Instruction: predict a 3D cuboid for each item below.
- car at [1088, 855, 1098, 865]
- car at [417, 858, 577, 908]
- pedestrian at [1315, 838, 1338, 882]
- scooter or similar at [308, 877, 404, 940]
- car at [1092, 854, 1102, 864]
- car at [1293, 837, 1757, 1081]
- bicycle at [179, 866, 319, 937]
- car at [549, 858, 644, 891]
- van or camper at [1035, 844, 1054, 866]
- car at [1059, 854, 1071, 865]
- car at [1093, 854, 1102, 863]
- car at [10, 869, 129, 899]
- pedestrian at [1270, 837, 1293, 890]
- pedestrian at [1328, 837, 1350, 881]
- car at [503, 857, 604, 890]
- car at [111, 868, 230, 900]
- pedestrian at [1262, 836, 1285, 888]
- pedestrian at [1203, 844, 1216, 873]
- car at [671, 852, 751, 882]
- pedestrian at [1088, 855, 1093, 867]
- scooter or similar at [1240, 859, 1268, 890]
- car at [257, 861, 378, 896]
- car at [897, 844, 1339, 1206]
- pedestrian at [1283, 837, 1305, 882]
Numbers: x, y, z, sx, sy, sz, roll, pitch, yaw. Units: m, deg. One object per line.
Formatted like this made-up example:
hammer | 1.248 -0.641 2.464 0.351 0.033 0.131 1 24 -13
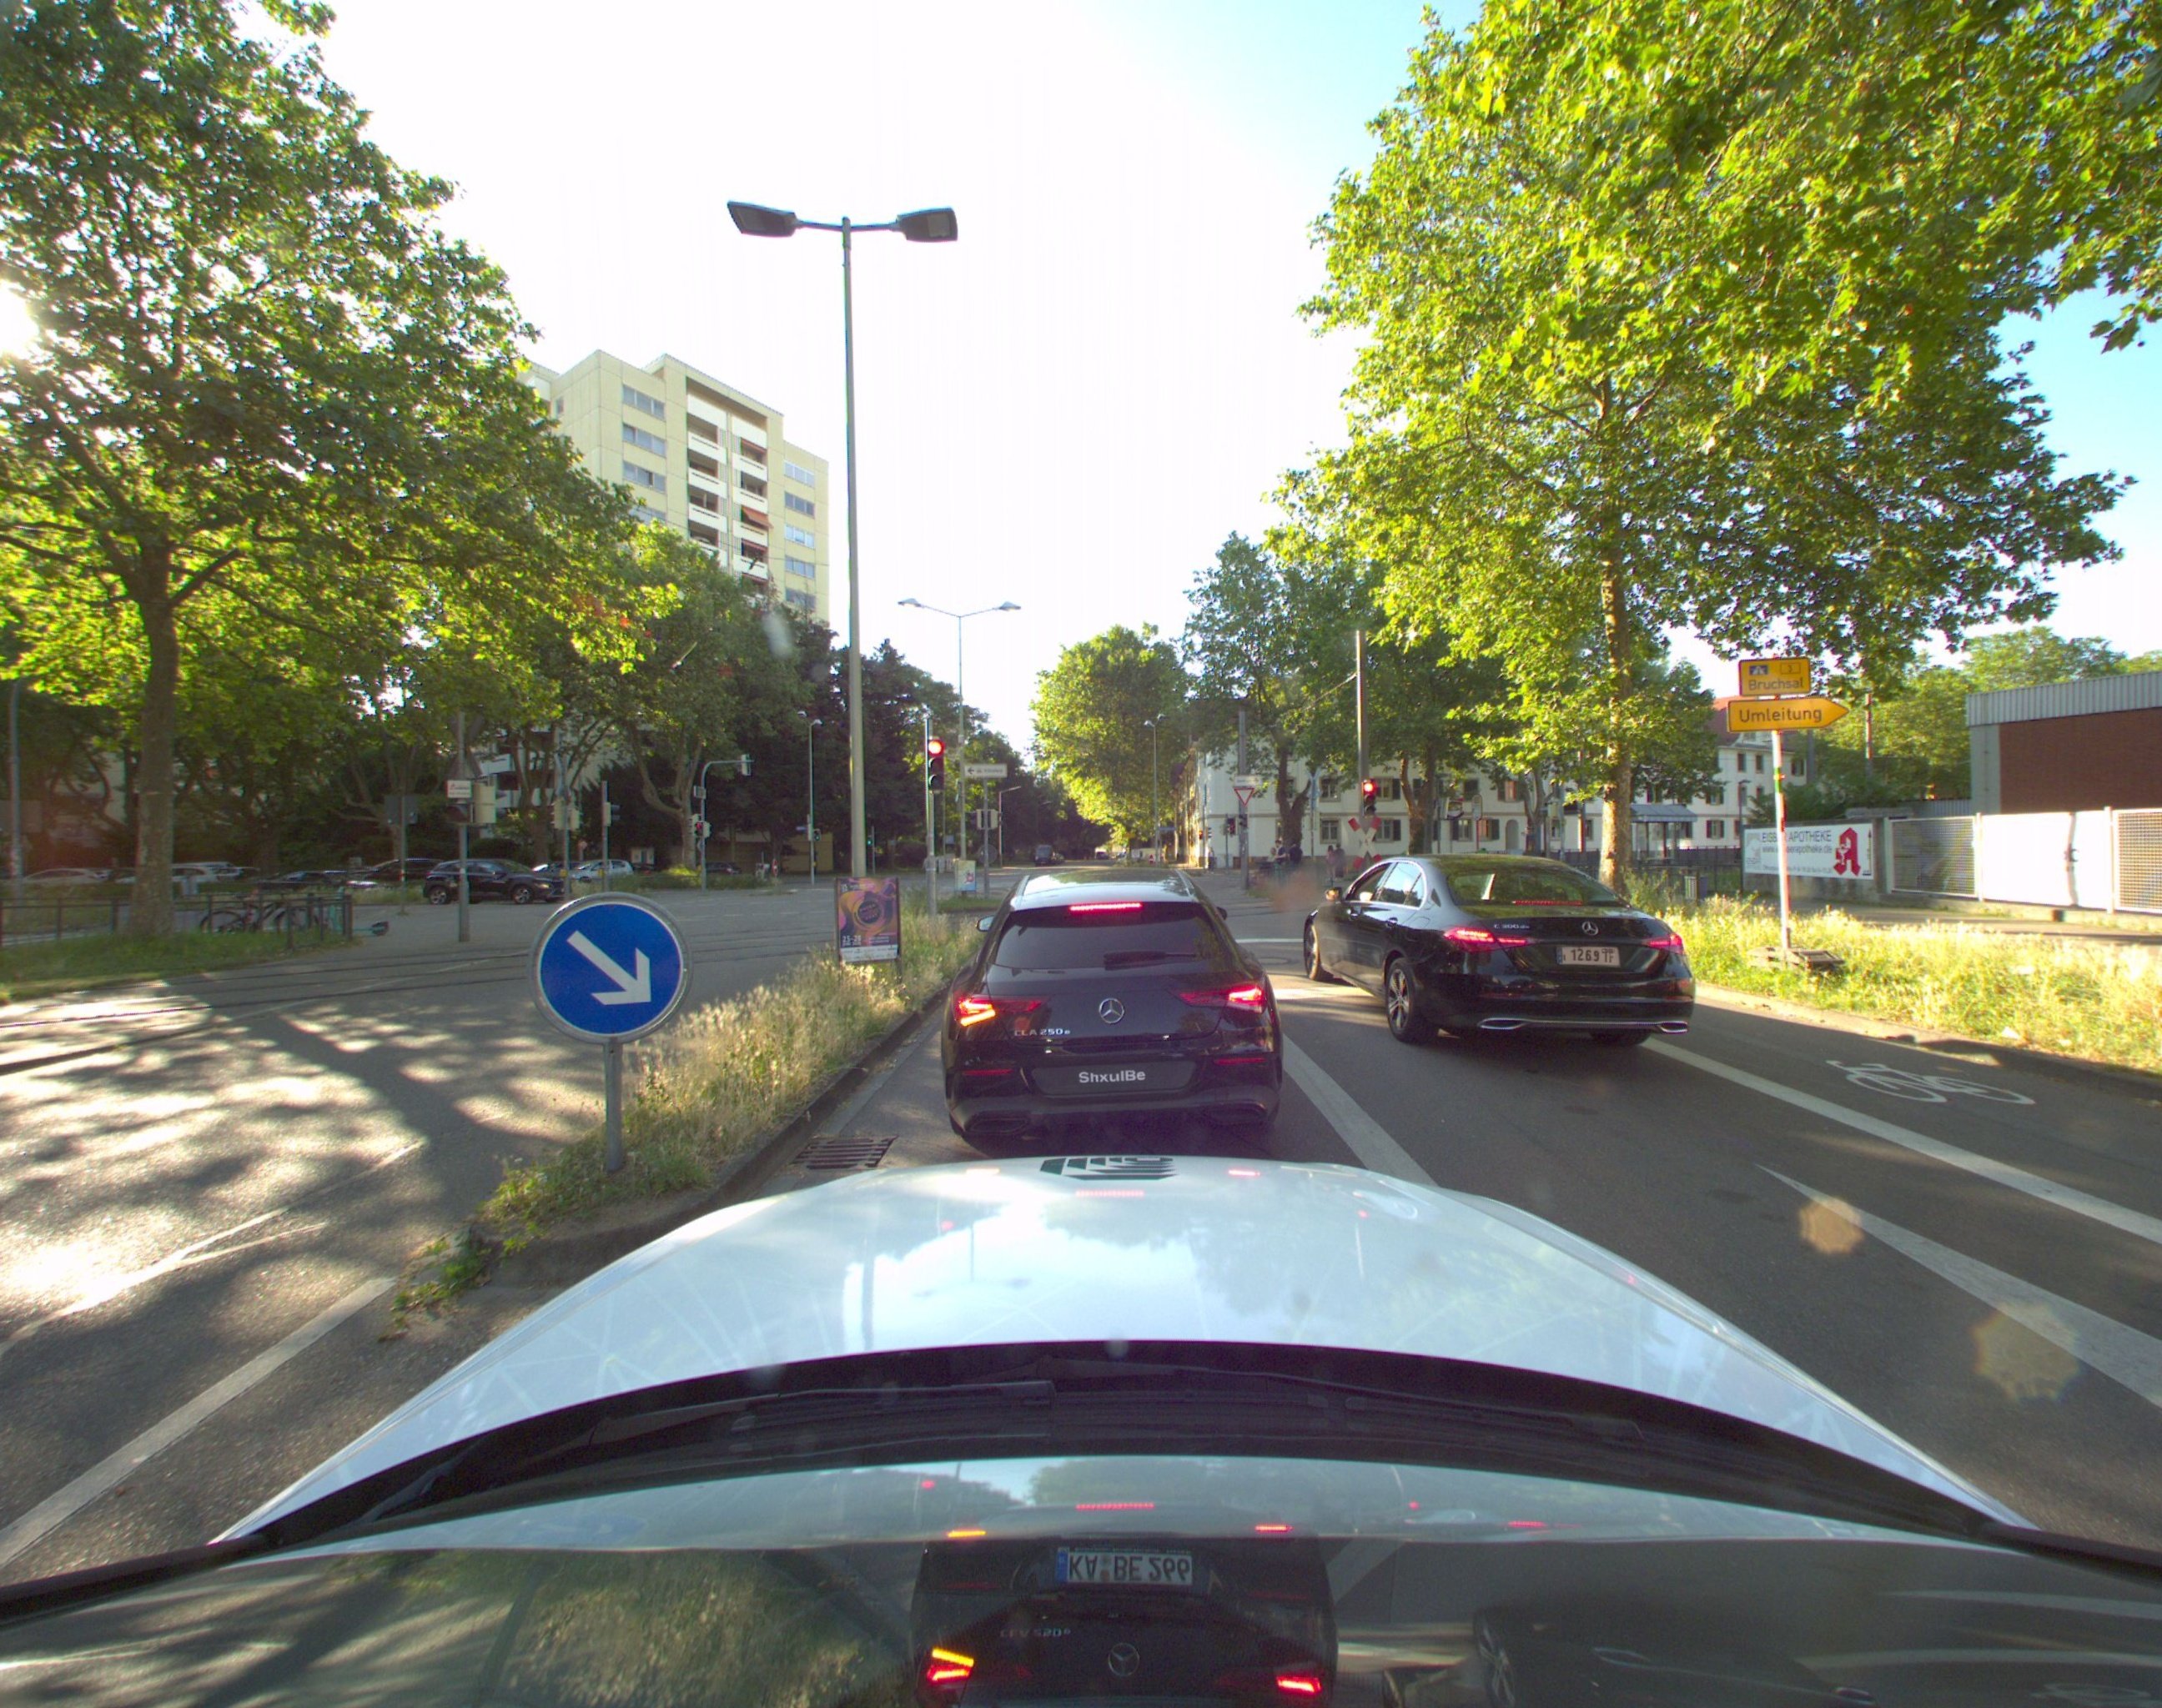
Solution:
car | 2.094 1.012 145.735 1.727 1.765 4.020 0 -1 2
car | -19.463 0.936 27.277 3.981 1.596 1.735 0 -1 -5
pedestrian | 10.719 0.259 35.558 0.703 1.918 0.838 0 -1 -2
scooter or similar | -15.096 1.106 16.980 0.408 1.239 1.450 -1 -1 40
car | 2.905 0.984 150.540 1.727 1.765 4.020 0 -1 2
car | 3.388 0.624 7.367 1.883 1.490 4.383 0 2 1
bicycle | -15.956 0.889 15.668 1.845 1.307 0.380 0 -1 -26
car | -24.928 1.027 42.025 1.716 1.596 3.831 -1 -1 32
van or camper | -4.425 0.132 100.049 1.986 2.541 4.653 0 -1 2
car | -2.480 0.831 126.675 1.727 1.765 3.972 0 -1 2
car | 3.236 0.906 158.623 1.727 1.765 4.020 0 -1 2
car | -57.105 1.665 46.070 1.716 1.596 4.025 -1 -1 32
pedestrian | 7.409 0.343 30.082 0.680 1.918 0.707 0 -1 0
pedestrian | 11.569 0.231 36.539 0.703 1.918 0.838 0 -1 -2
car | -27.224 0.975 42.159 1.716 1.596 4.025 -1 -1 32
car | -49.165 1.587 44.067 1.716 1.596 4.025 -1 -1 32
pedestrian | 7.284 0.298 30.858 0.681 1.918 0.707 0 -1 -2
pedestrian | 8.637 0.318 54.885 0.703 1.918 0.838 0 -1 -2
car | -22.644 0.800 49.922 3.963 1.774 2.005 -1 -1 9
pedestrian | 1.529 1.055 130.199 0.704 1.918 0.837 0 -1 -8
scooter or similar | 6.437 0.757 30.363 0.826 1.104 0.808 0 -1 -4
car | -37.418 1.145 39.995 1.716 1.596 4.025 -1 -1 32
car | 0.267 0.709 5.486 1.881 1.450 4.004 0 2 3
pedestrian | 9.190 0.246 35.112 0.703 1.918 0.838 0 -1 -2
